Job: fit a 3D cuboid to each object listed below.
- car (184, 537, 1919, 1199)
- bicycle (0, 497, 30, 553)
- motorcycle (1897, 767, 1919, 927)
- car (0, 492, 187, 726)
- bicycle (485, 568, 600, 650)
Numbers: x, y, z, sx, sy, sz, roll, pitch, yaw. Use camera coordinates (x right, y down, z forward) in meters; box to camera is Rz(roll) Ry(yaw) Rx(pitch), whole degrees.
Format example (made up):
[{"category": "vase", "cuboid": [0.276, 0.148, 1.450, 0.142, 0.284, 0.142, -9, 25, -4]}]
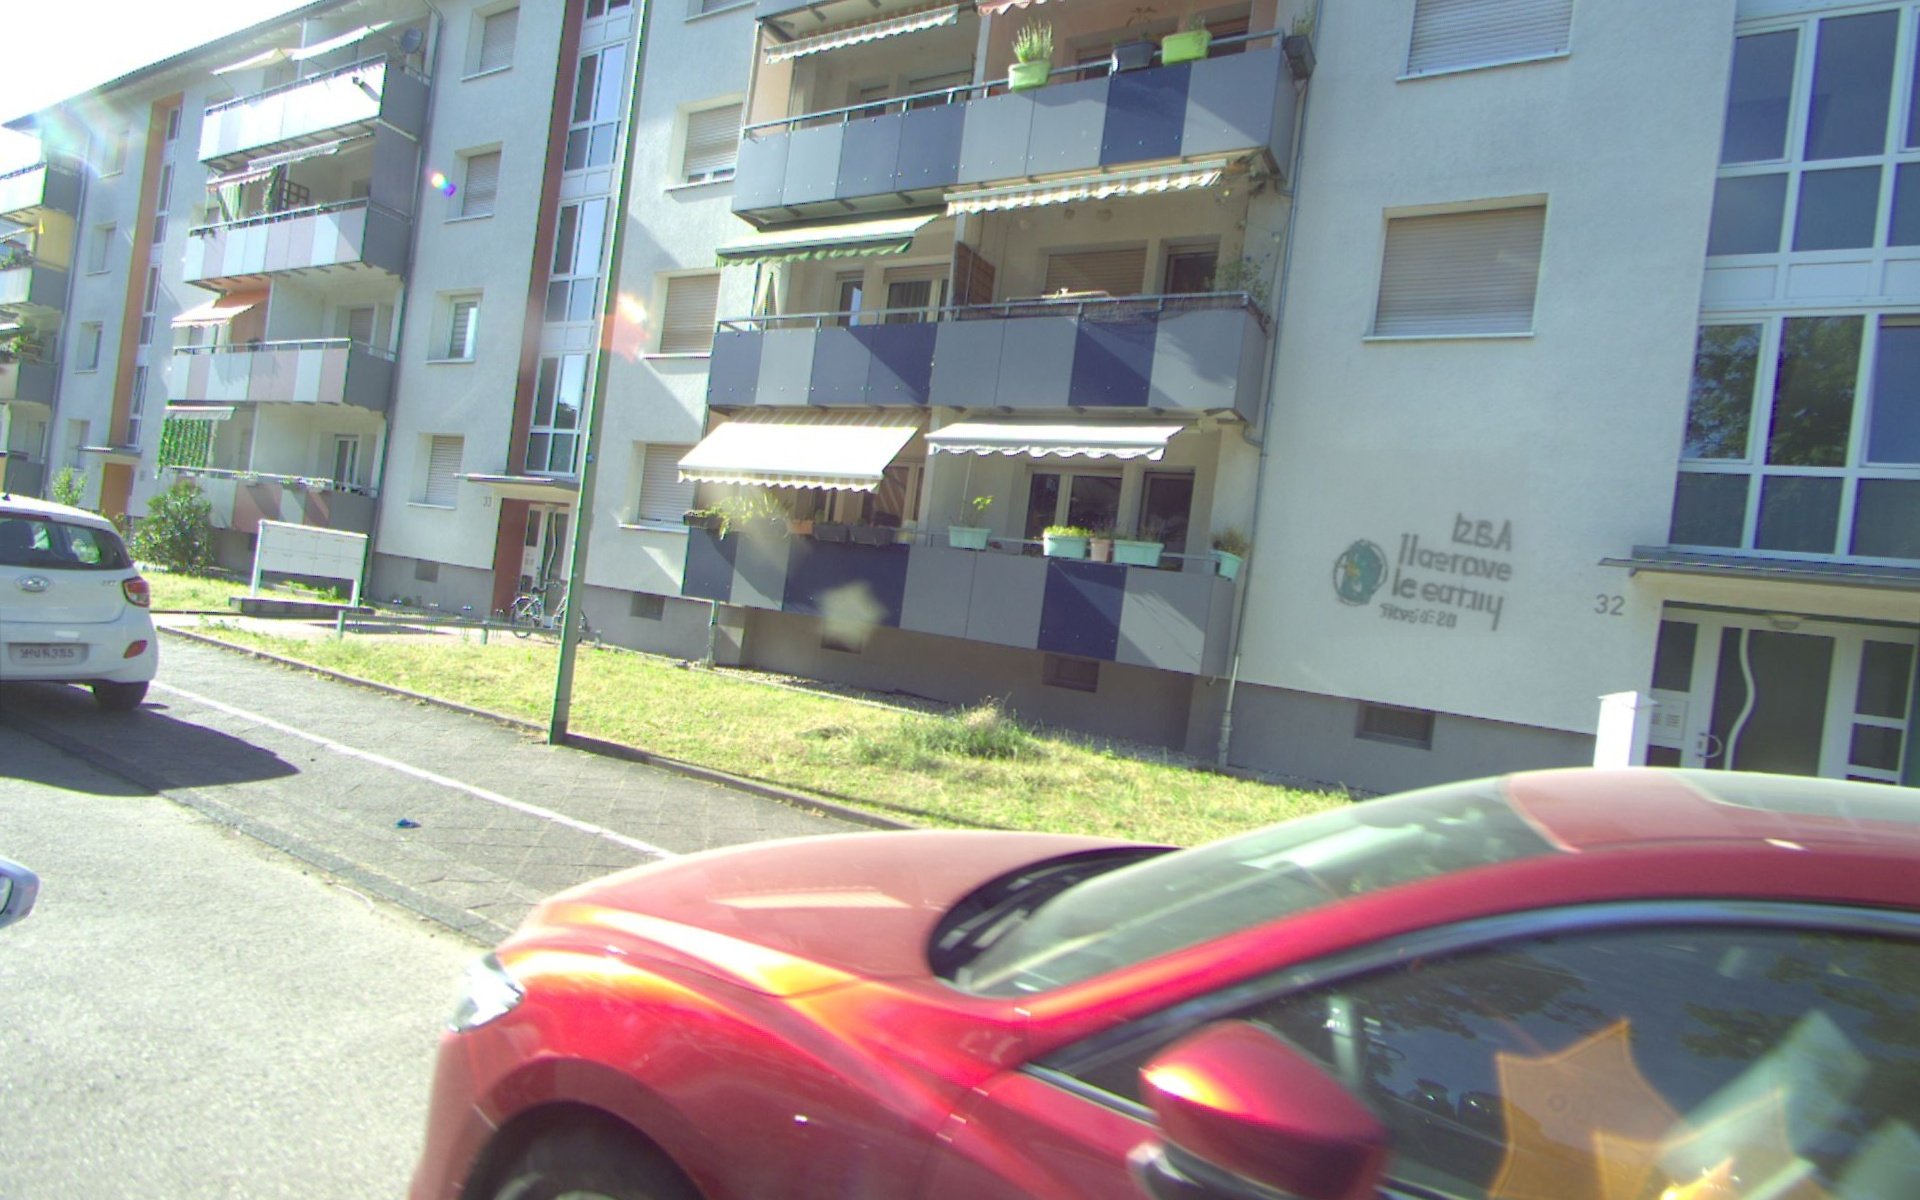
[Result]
[{"category": "car", "cuboid": [1.002, 0.941, 1.717, 4.979, 1.490, 1.847, 7, -1, 30]}, {"category": "bicycle", "cuboid": [-22.419, -1.773, 23.328, 1.980, 1.190, 0.597, 5, -1, 30]}, {"category": "motorcycle", "cuboid": [8.106, 1.950, 7.105, 2.000, 1.165, 0.584, 7, 0, 22]}, {"category": "car", "cuboid": [-7.829, -0.126, 7.495, 3.793, 1.517, 1.752, 7, 0, 28]}, {"category": "bicycle", "cuboid": [-6.687, 0.134, 16.068, 1.975, 1.085, 0.524, 7, 2, 30]}]
